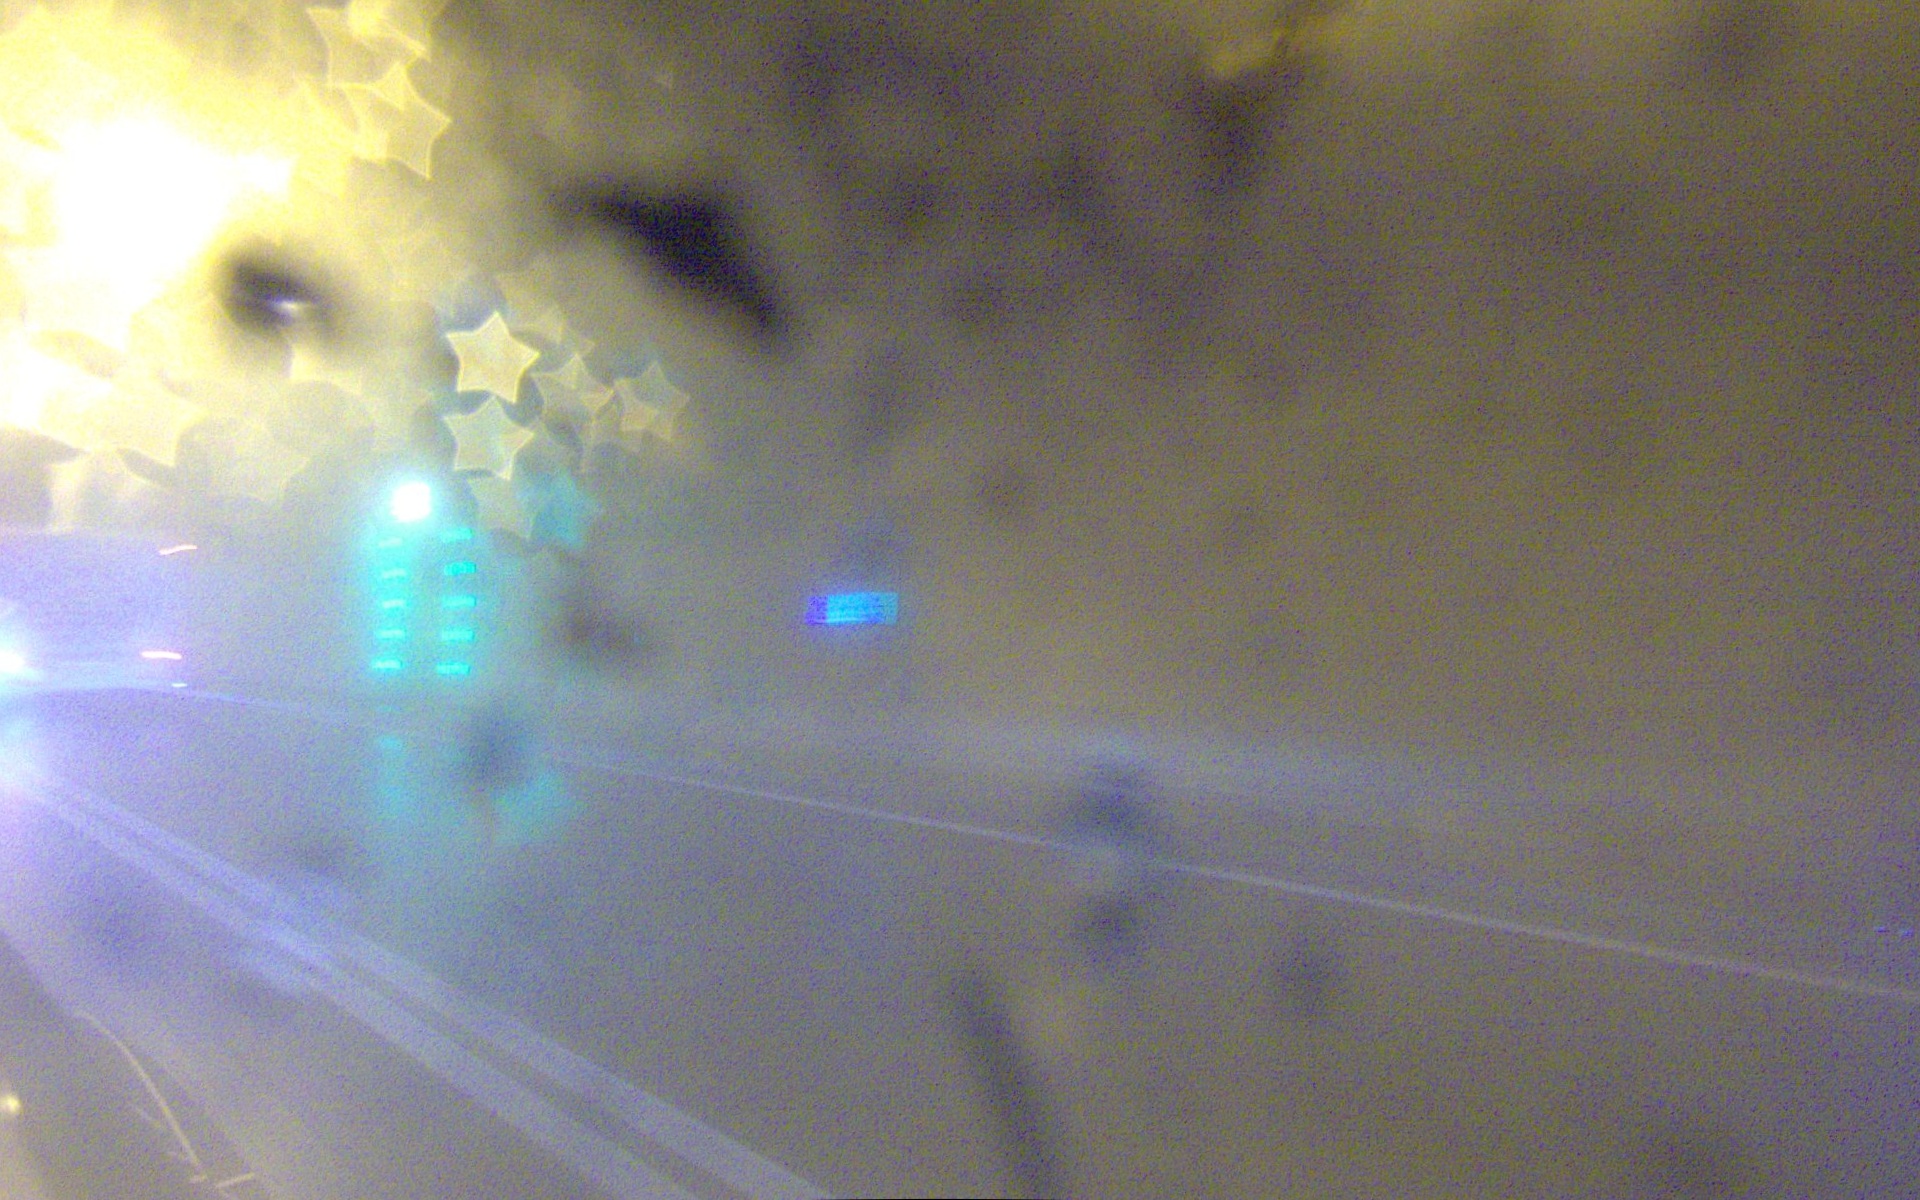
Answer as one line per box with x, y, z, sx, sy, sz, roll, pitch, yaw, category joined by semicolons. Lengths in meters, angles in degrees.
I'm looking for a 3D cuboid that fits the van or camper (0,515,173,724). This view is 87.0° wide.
-15.376;0.307;16.840;6.675;2.905;2.388;-1;0;41;van or camper
